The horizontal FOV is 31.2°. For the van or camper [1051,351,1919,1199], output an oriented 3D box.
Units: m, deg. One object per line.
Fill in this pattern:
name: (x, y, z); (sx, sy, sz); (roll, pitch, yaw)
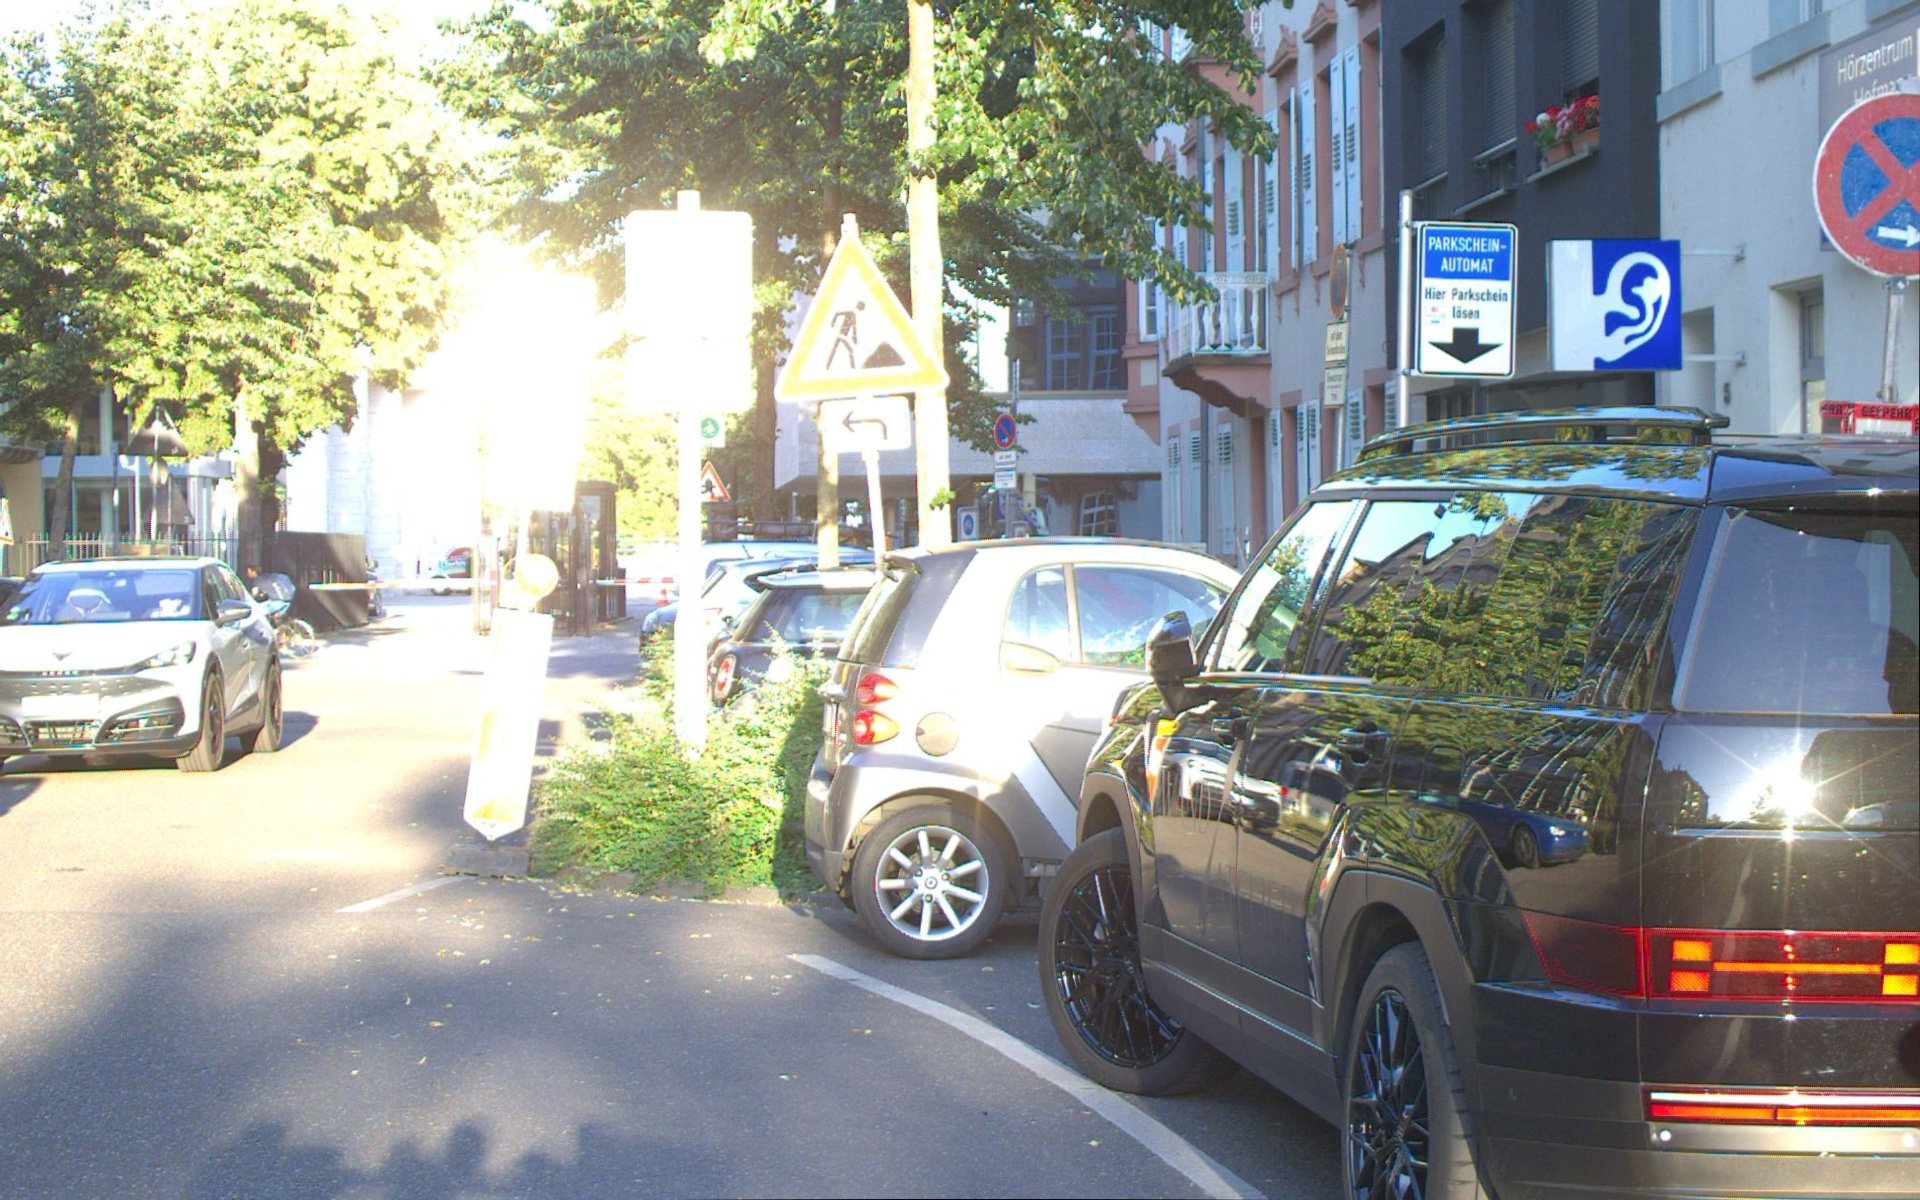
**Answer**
van or camper: (1.533, 0.479, 7.675); (1.889, 1.801, 4.462); (0, 1, -9)

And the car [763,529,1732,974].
car: (1.068, 0.524, 13.395); (3.469, 1.570, 1.508); (-1, 1, -12)

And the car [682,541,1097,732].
car: (-0.695, 0.322, 31.724); (3.684, 1.664, 1.859); (1, 1, -5)

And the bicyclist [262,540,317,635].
bicyclist: (-11.338, -0.218, 58.125); (0.762, 1.600, 0.499); (0, 1, 17)

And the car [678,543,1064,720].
car: (-0.928, 0.297, 34.126); (3.684, 1.664, 1.859); (1, 1, -5)

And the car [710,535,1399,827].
car: (0.505, 0.471, 21.052); (3.994, 1.664, 1.859); (1, 1, -5)

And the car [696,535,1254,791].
car: (0.044, 0.416, 23.871); (3.684, 1.664, 1.859); (1, 1, -5)

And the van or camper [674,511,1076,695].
van or camper: (-1.007, 0.026, 39.219); (4.439, 1.999, 1.859); (1, 1, -5)

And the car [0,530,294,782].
car: (-6.343, 0.370, 26.104); (1.873, 1.692, 4.322); (-3, 1, -3)

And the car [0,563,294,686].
car: (-11.642, 0.332, 48.894); (3.987, 1.678, 1.891); (0, 1, -1)

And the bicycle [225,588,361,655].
bicycle: (-11.269, 0.357, 58.108); (2.273, 1.129, 0.515); (0, 1, 17)

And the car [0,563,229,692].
car: (-12.011, 0.354, 46.192); (3.987, 1.678, 1.891); (0, 1, -1)

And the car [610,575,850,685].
car: (-3.428, 0.426, 51.823); (1.855, 1.563, 3.691); (1, 1, 30)
